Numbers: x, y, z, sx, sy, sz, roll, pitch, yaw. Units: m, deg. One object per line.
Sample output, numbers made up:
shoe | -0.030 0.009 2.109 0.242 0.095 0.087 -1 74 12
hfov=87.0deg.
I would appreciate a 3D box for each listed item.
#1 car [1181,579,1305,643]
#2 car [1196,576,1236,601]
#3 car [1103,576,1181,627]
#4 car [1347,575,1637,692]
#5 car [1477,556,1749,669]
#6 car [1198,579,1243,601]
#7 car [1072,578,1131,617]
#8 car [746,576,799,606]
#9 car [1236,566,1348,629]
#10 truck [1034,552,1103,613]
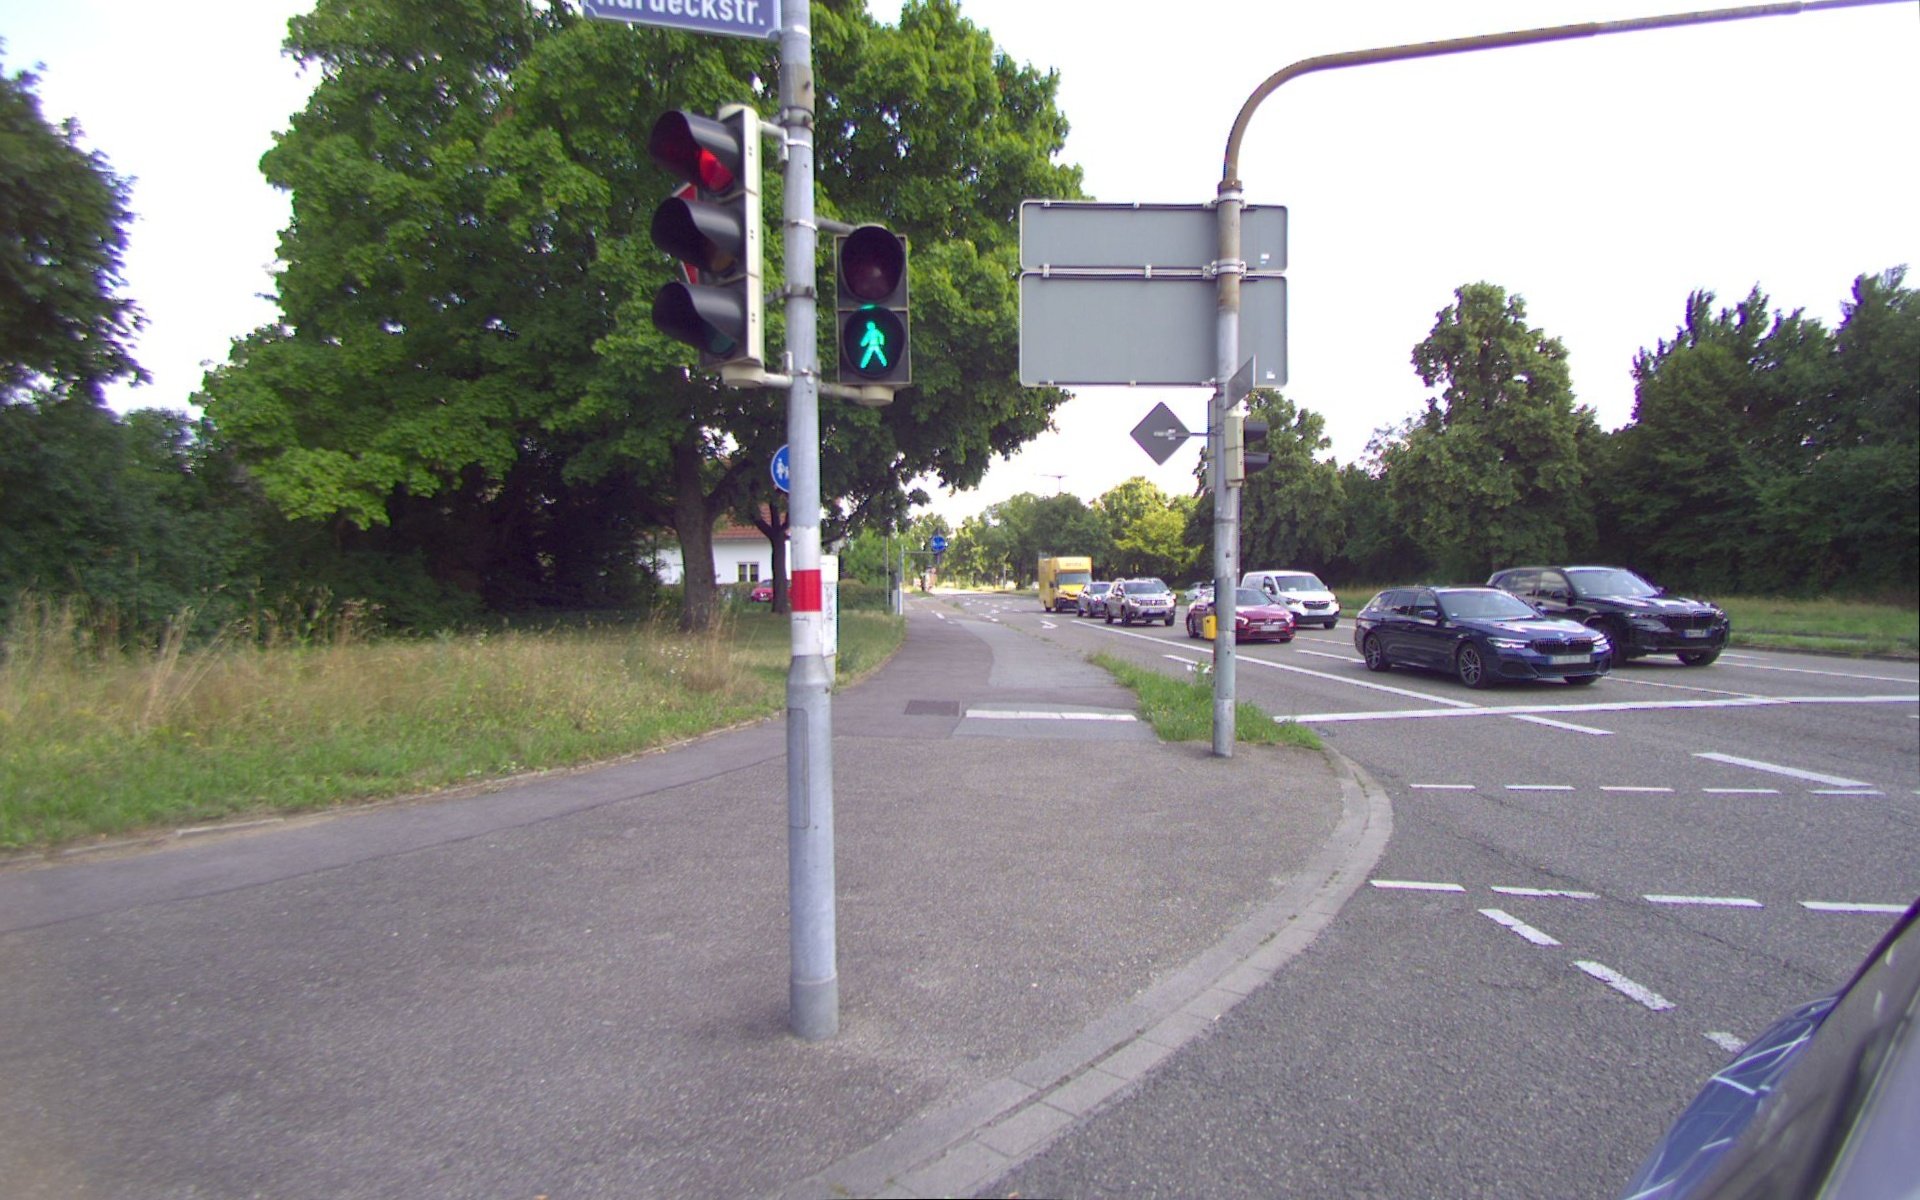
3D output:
car | 7.395 0.221 26.899 1.694 1.480 4.540 -2 1 -4
car | 19.377 -0.929 76.727 1.643 1.816 4.259 -1 2 -4
car | 6.425 -0.001 36.130 1.694 1.631 4.180 -2 2 -4
car | 8.194 0.389 16.242 1.767 1.515 4.878 -2 2 -4
car | 11.645 0.140 18.504 1.783 1.767 4.554 -1 2 -4
car | 16.691 -0.643 65.044 1.724 1.324 3.697 1 1 -3
car | 6.146 -0.163 44.303 1.694 1.549 3.898 -2 2 -4
car | -10.034 -0.476 54.483 1.653 1.550 4.386 0 1 6
car | 10.598 -0.140 32.665 1.736 1.820 4.736 -1 2 -4
truck | 5.568 -0.941 52.960 2.319 2.895 6.973 -2 1 -4
